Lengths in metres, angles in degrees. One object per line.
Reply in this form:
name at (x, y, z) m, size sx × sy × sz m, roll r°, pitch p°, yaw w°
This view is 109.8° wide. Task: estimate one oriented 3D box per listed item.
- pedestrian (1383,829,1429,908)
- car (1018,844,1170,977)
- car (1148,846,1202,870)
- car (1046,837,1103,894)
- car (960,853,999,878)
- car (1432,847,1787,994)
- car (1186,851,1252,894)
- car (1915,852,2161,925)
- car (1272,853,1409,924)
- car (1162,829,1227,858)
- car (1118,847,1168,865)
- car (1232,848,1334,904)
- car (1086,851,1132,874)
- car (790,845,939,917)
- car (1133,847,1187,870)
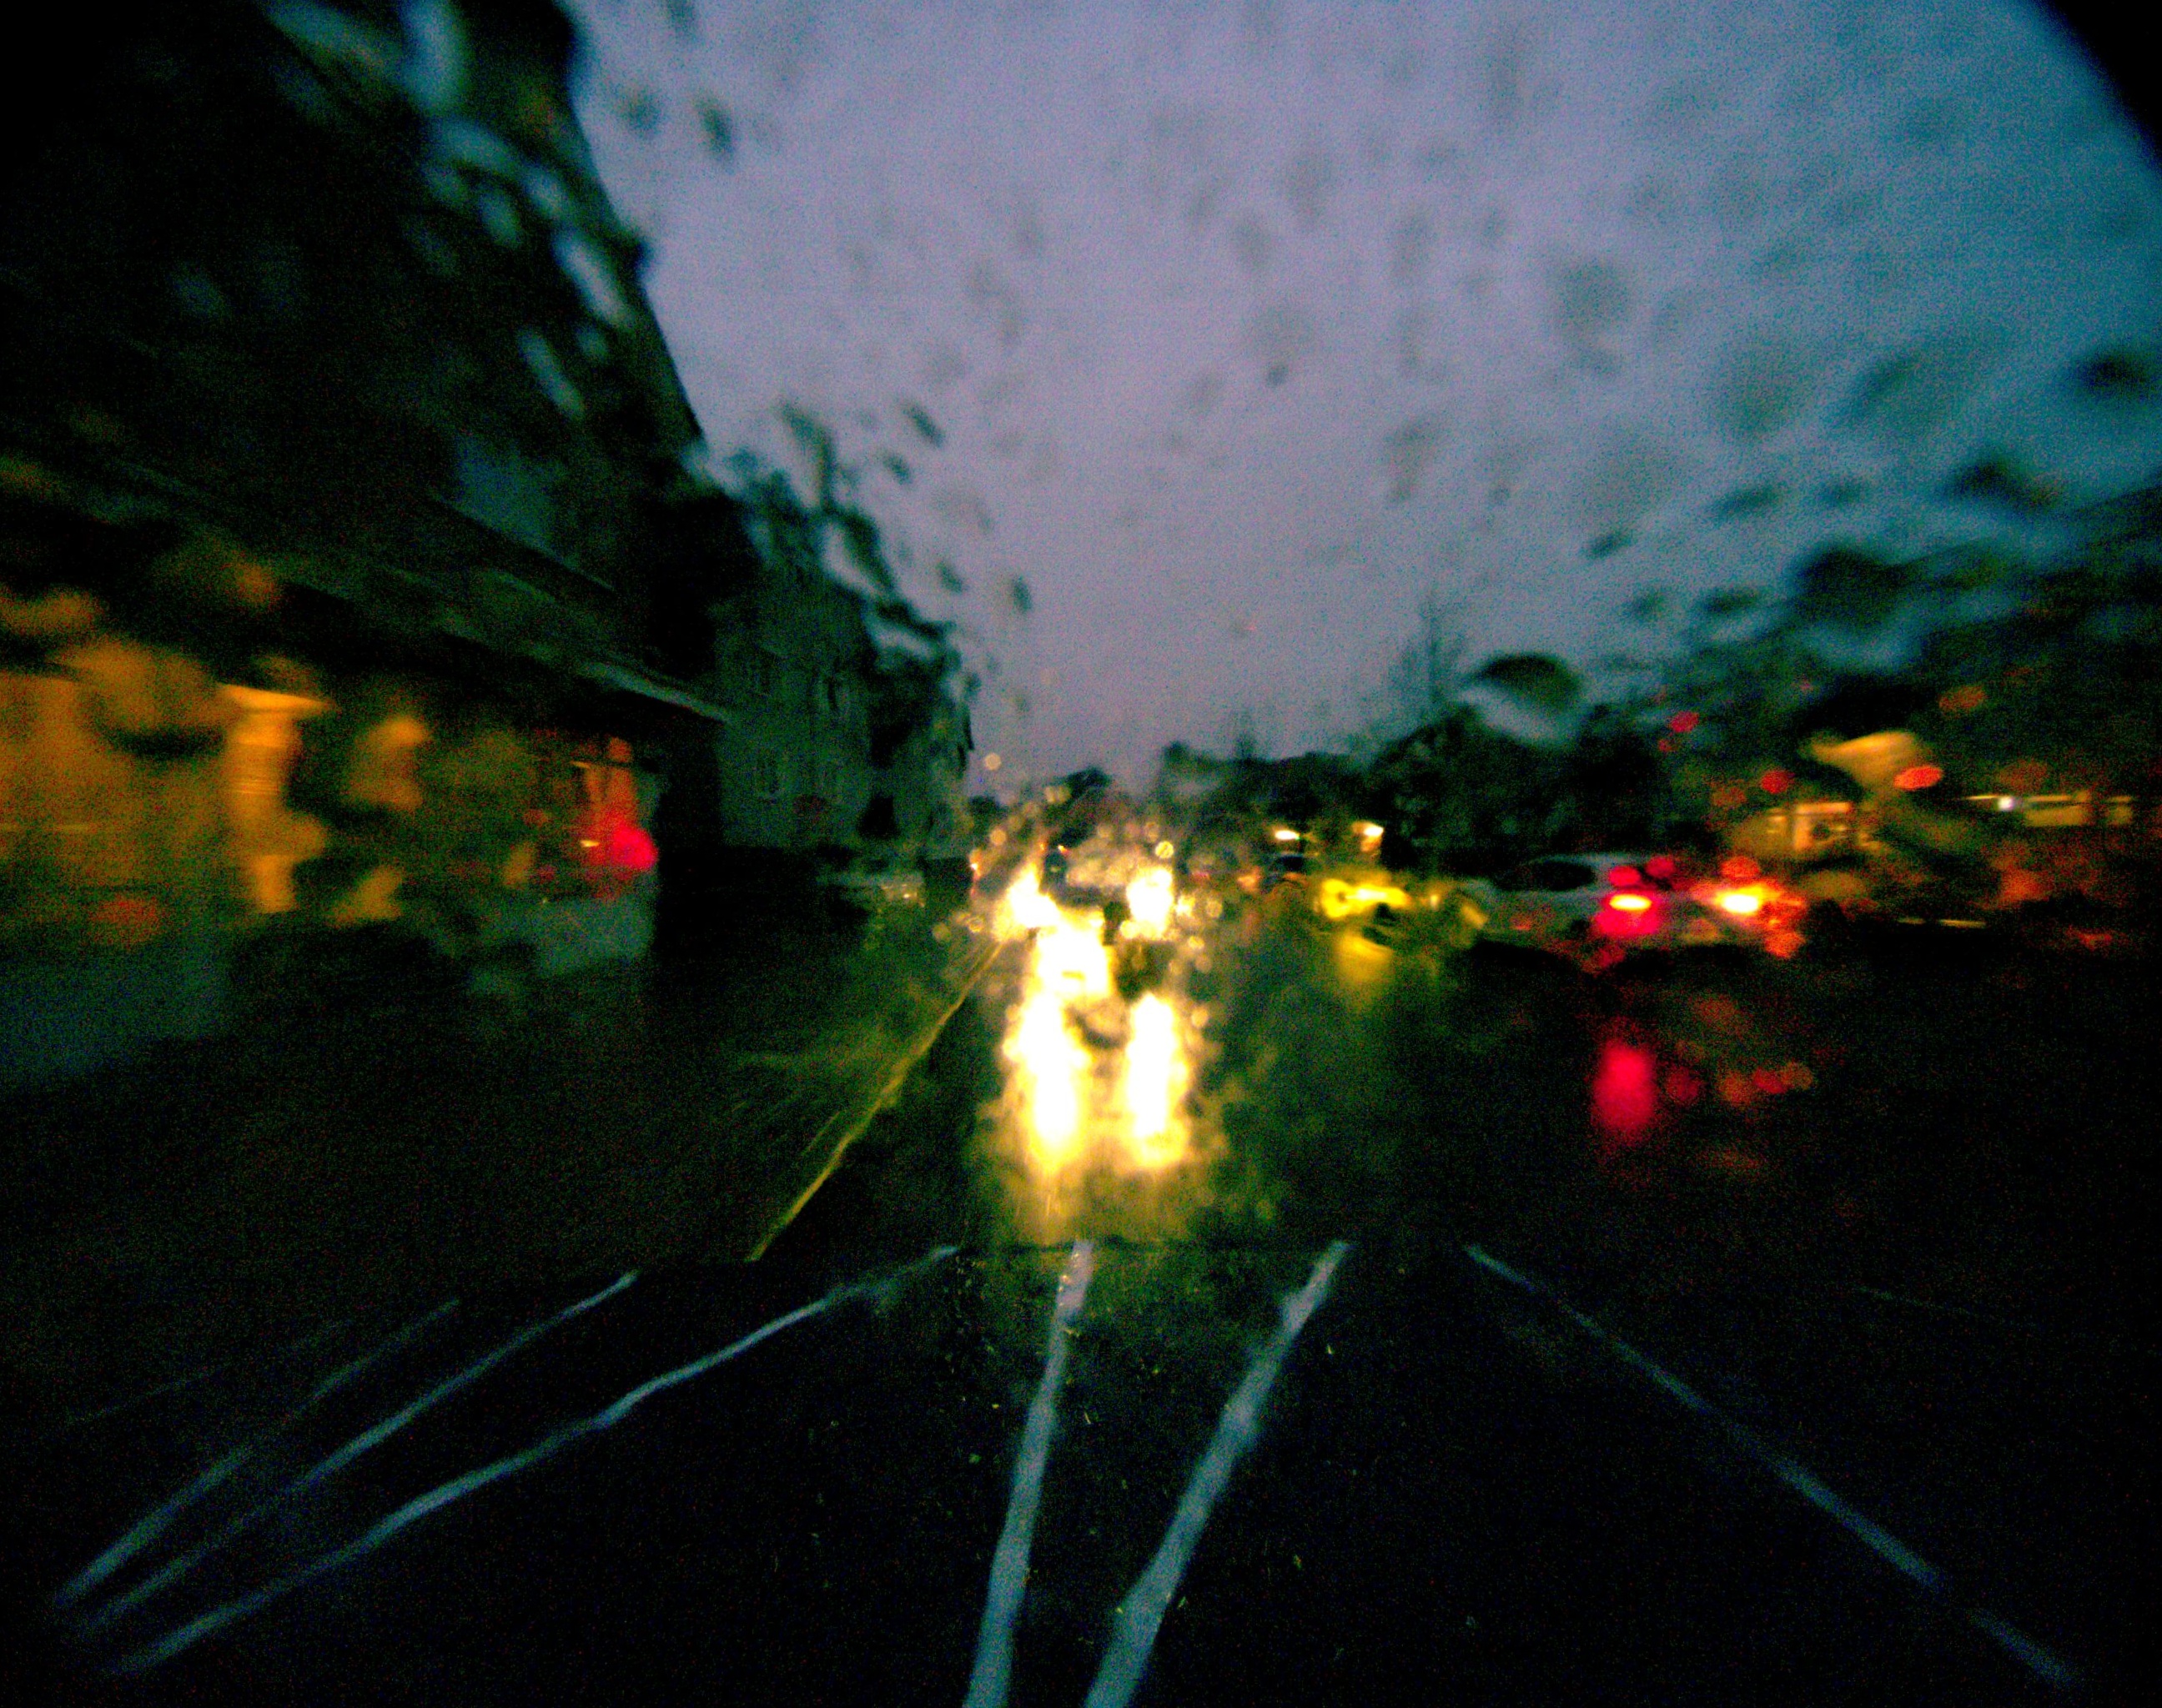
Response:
pedestrian at (8.446, 0.376, 19.793) m, size 0.902 × 2.002 × 0.791 m, roll -1°, pitch 1°, yaw 8°
car at (0.136, 0.741, 12.282) m, size 1.999 × 1.720 × 3.999 m, roll -2°, pitch 1°, yaw -1°
car at (6.961, 0.291, 56.201) m, size 3.839 × 1.537 × 2.001 m, roll -2°, pitch 1°, yaw 6°
car at (-0.333, 0.395, 29.893) m, size 1.999 × 2.002 × 3.998 m, roll -2°, pitch 1°, yaw -3°
car at (-8.277, 0.934, 61.695) m, size 2.002 × 1.844 × 3.992 m, roll -3°, pitch 1°, yaw -24°
car at (6.611, 0.694, 10.196) m, size 1.789 × 1.480 × 4.181 m, roll -2°, pitch 1°, yaw -1°
car at (5.581, 0.702, 31.228) m, size 1.840 × 1.526 × 4.138 m, roll -2°, pitch 1°, yaw -1°
car at (23.619, 0.738, 18.506) m, size 2.000 × 1.555 × 3.996 m, roll 0°, pitch 1°, yaw -9°
car at (6.047, 0.727, 18.283) m, size 1.698 × 1.423 × 4.376 m, roll -2°, pitch 0°, yaw -1°
car at (7.290, -0.687, 48.800) m, size 3.993 × 1.753 × 1.435 m, roll -1°, pitch 1°, yaw 13°
car at (5.026, 0.117, 61.746) m, size 3.996 × 1.291 × 2.000 m, roll -2°, pitch 1°, yaw 4°
car at (6.169, 0.616, 23.672) m, size 1.880 × 1.526 × 3.670 m, roll -2°, pitch 1°, yaw -5°
car at (1.865, 0.596, 52.128) m, size 1.984 × 1.438 × 3.908 m, roll -2°, pitch 1°, yaw -15°
car at (-5.380, 0.589, 19.662) m, size 1.933 × 1.477 × 4.697 m, roll -2°, pitch 2°, yaw 7°
car at (6.142, 0.339, 58.813) m, size 3.994 × 1.538 × 2.001 m, roll -2°, pitch 1°, yaw 9°
